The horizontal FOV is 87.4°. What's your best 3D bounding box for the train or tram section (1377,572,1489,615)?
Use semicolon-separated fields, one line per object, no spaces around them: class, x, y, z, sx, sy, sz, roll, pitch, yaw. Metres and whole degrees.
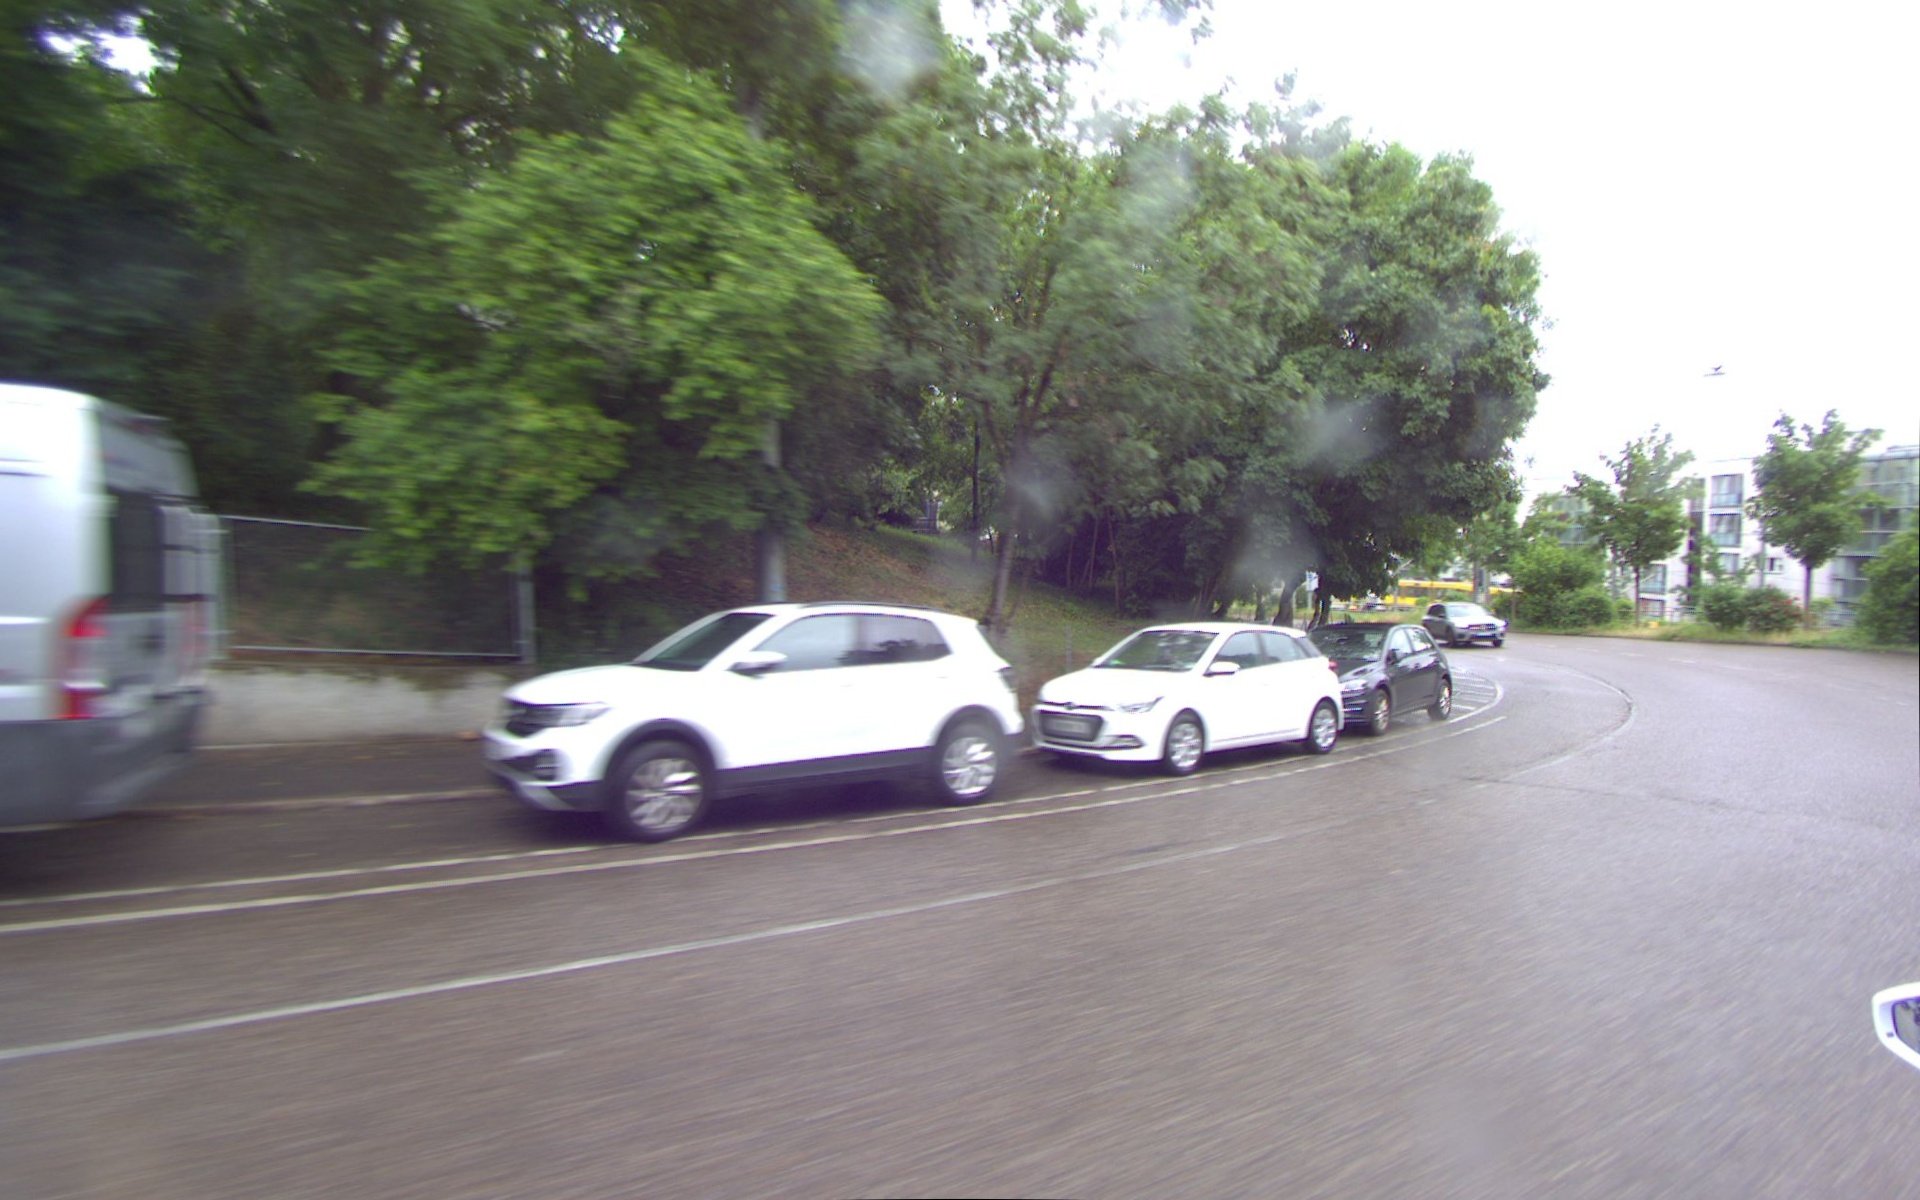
train or tram section;47.739;-0.621;102.483;3.275;4.000;18.817;0;0;2

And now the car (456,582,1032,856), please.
car;-1.535;0.772;7.813;3.988;1.603;1.790;2;-2;-37

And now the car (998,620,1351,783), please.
car;2.484;0.970;11.119;4.014;1.476;1.737;1;-1;-40

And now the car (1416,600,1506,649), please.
car;19.183;0.897;38.668;1.787;1.692;4.312;-2;0;8

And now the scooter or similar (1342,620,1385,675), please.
scooter or similar;10.139;1.180;25.204;0.600;1.285;1.432;4;2;36

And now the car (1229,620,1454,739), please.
car;5.657;1.037;14.633;1.753;1.462;3.994;-1;-1;42

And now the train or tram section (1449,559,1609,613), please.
train or tram section;46.969;-1.024;84.256;3.275;4.000;19.285;0;0;2

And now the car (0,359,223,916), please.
car;-7.341;0.001;4.379;6.264;2.583;2.066;3;1;-26
